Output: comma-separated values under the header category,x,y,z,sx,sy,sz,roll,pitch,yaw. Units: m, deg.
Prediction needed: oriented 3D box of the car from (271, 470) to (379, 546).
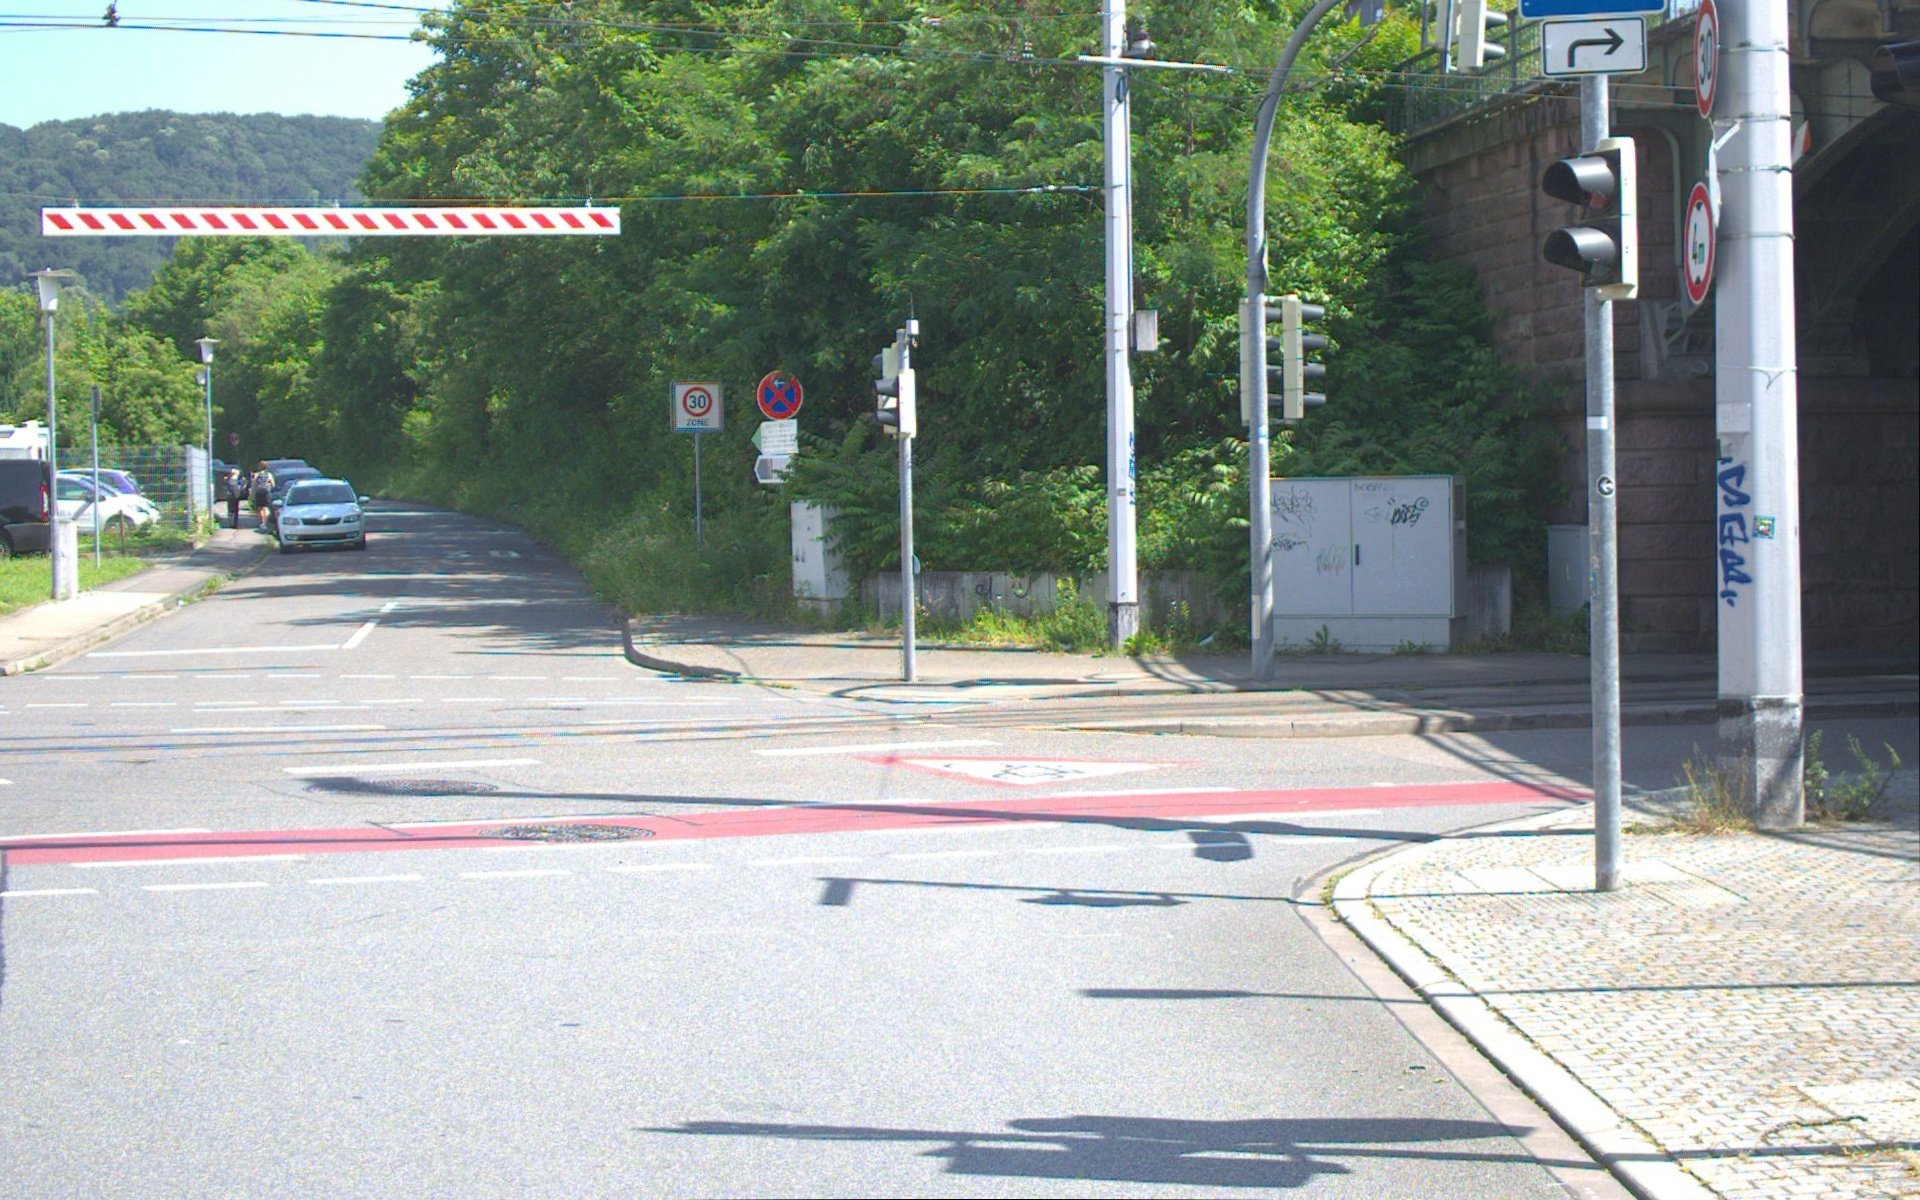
category,x,y,z,sx,sy,sz,roll,pitch,yaw
car,-13.403,-1.961,72.724,2.086,1.505,4.541,1,2,-9

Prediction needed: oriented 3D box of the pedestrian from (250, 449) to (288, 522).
category,x,y,z,sx,sy,sz,roll,pitch,yaw
pedestrian,-16.836,-2.788,83.794,0.875,1.756,0.731,1,0,-9

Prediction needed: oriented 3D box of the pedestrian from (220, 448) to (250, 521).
category,x,y,z,sx,sy,sz,roll,pitch,yaw
pedestrian,-17.676,-2.815,83.831,0.653,1.756,0.804,1,0,-9

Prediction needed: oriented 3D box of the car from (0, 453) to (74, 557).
category,x,y,z,sx,sy,sz,roll,pitch,yaw
car,-18.581,-1.649,61.184,5.246,1.810,2.001,-2,2,-10

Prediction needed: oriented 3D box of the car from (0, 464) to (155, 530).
category,x,y,z,sx,sy,sz,roll,pitch,yaw
car,-19.640,-2.259,75.395,3.719,1.367,1.605,1,0,-7

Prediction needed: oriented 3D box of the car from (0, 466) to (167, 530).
category,x,y,z,sx,sy,sz,roll,pitch,yaw
car,-19.936,-2.303,77.814,3.719,1.367,1.605,1,1,-7
